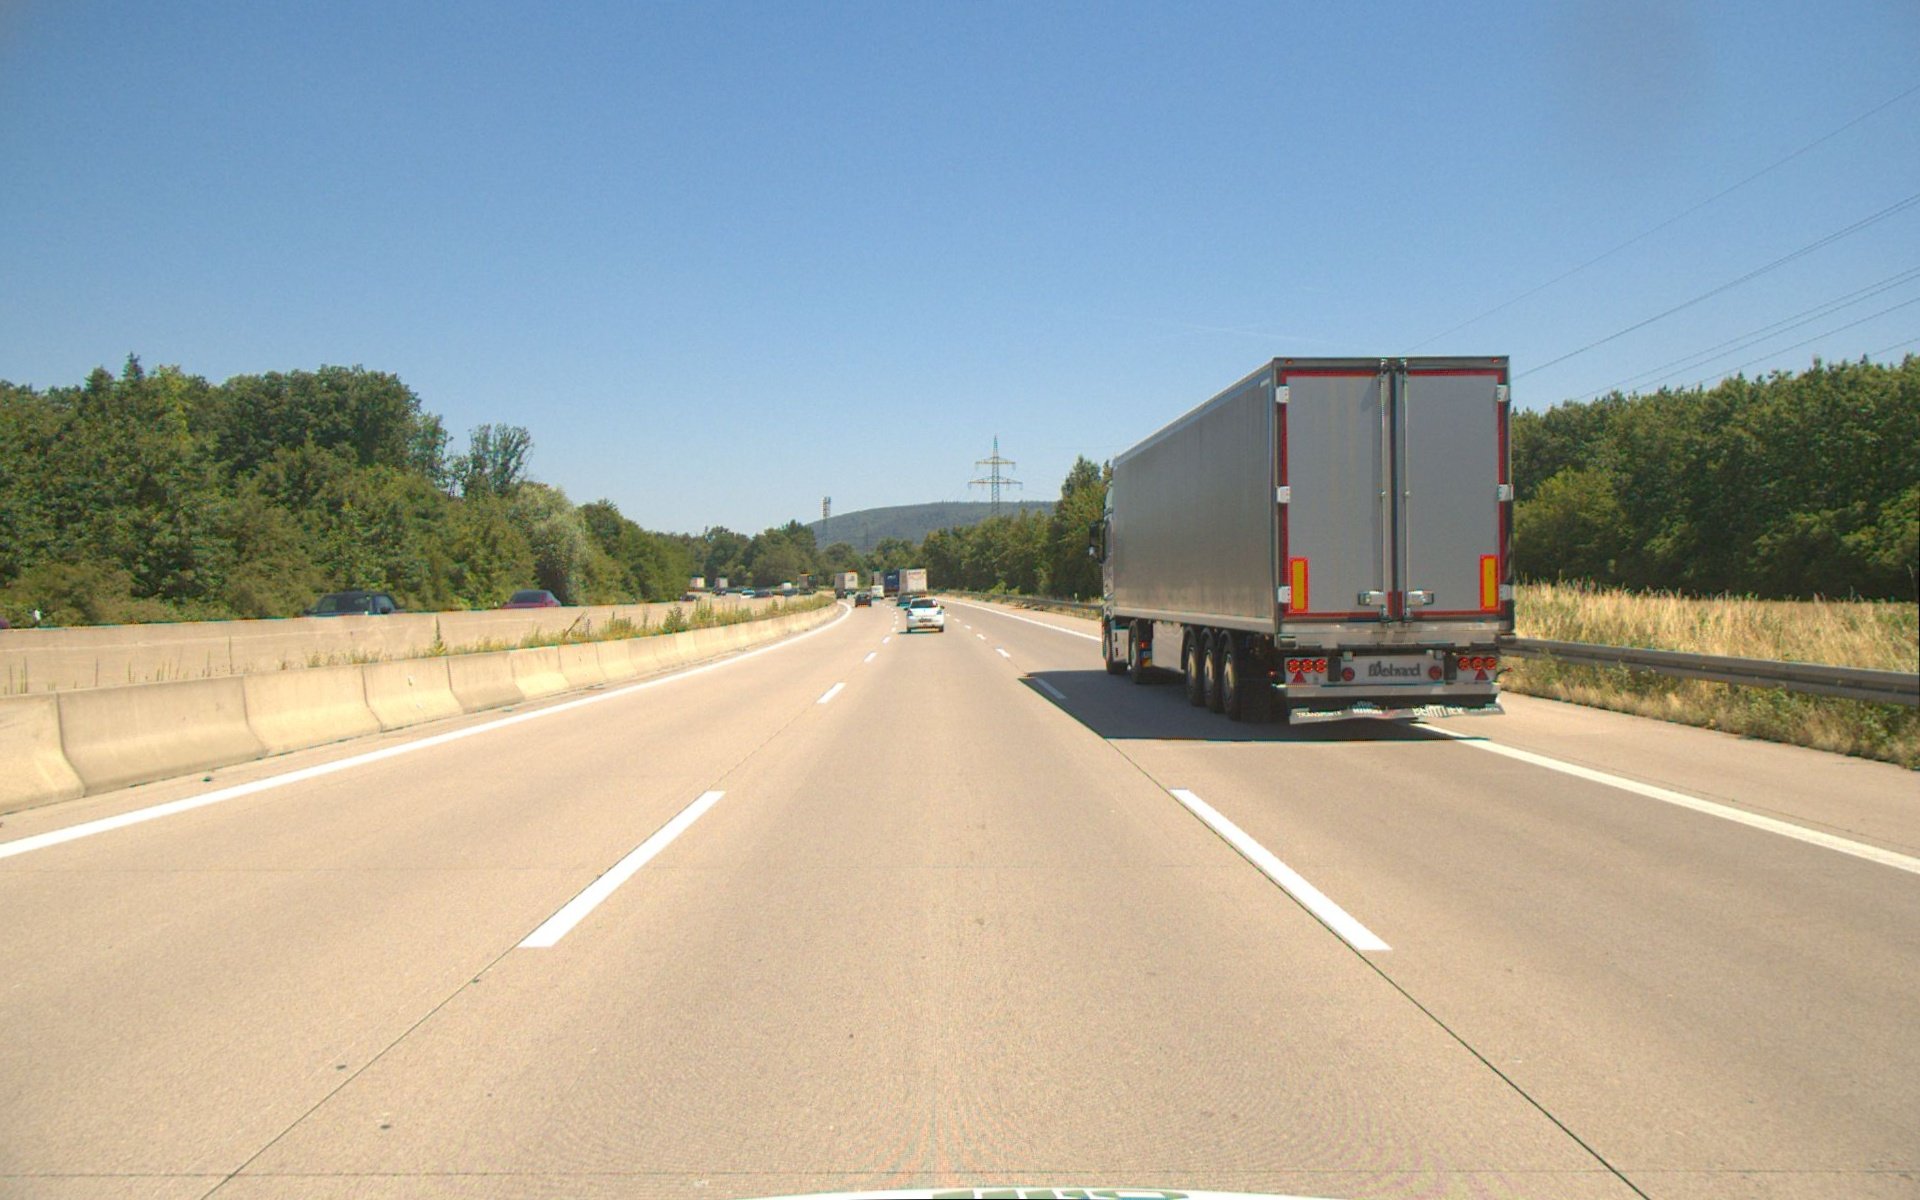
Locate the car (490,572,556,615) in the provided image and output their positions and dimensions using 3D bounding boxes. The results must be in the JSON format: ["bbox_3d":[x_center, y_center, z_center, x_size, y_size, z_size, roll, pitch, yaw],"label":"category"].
[{"bbox_3d":[-18.277,-0.281,69.372,1.763,1.699,4.216,-1,1,-2],"label":"car"}]

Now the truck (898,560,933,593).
[{"bbox_3d":[-5.993,-3.121,219.923,3.746,3.956,14.140,-3,1,-5],"label":"truck"}]

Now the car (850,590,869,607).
[{"bbox_3d":[-10.853,-0.149,178.976,1.982,1.730,3.998,2,1,-4],"label":"car"}]

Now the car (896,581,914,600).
[{"bbox_3d":[-5.741,-0.999,171.824,1.579,1.755,3.570,-3,1,-4],"label":"car"}]

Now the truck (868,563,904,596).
[{"bbox_3d":[-11.883,-3.250,263.807,3.836,4.823,14.019,-4,1,-9],"label":"truck"}]

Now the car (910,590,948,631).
[{"bbox_3d":[-1.392,0.470,73.804,1.608,1.691,3.359,1,1,-1],"label":"car"}]

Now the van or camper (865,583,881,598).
[{"bbox_3d":[-12.346,-1.350,235.043,1.833,1.869,3.992,-4,1,-9],"label":"van or camper"}]

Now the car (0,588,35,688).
[{"bbox_3d":[-17.009,0.656,26.810,1.669,1.687,4.404,-1,0,-2],"label":"car"}]

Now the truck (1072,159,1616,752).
[{"bbox_3d":[4.466,-1.640,25.647,3.505,5.888,18.241,0,1,-2],"label":"truck"}]
